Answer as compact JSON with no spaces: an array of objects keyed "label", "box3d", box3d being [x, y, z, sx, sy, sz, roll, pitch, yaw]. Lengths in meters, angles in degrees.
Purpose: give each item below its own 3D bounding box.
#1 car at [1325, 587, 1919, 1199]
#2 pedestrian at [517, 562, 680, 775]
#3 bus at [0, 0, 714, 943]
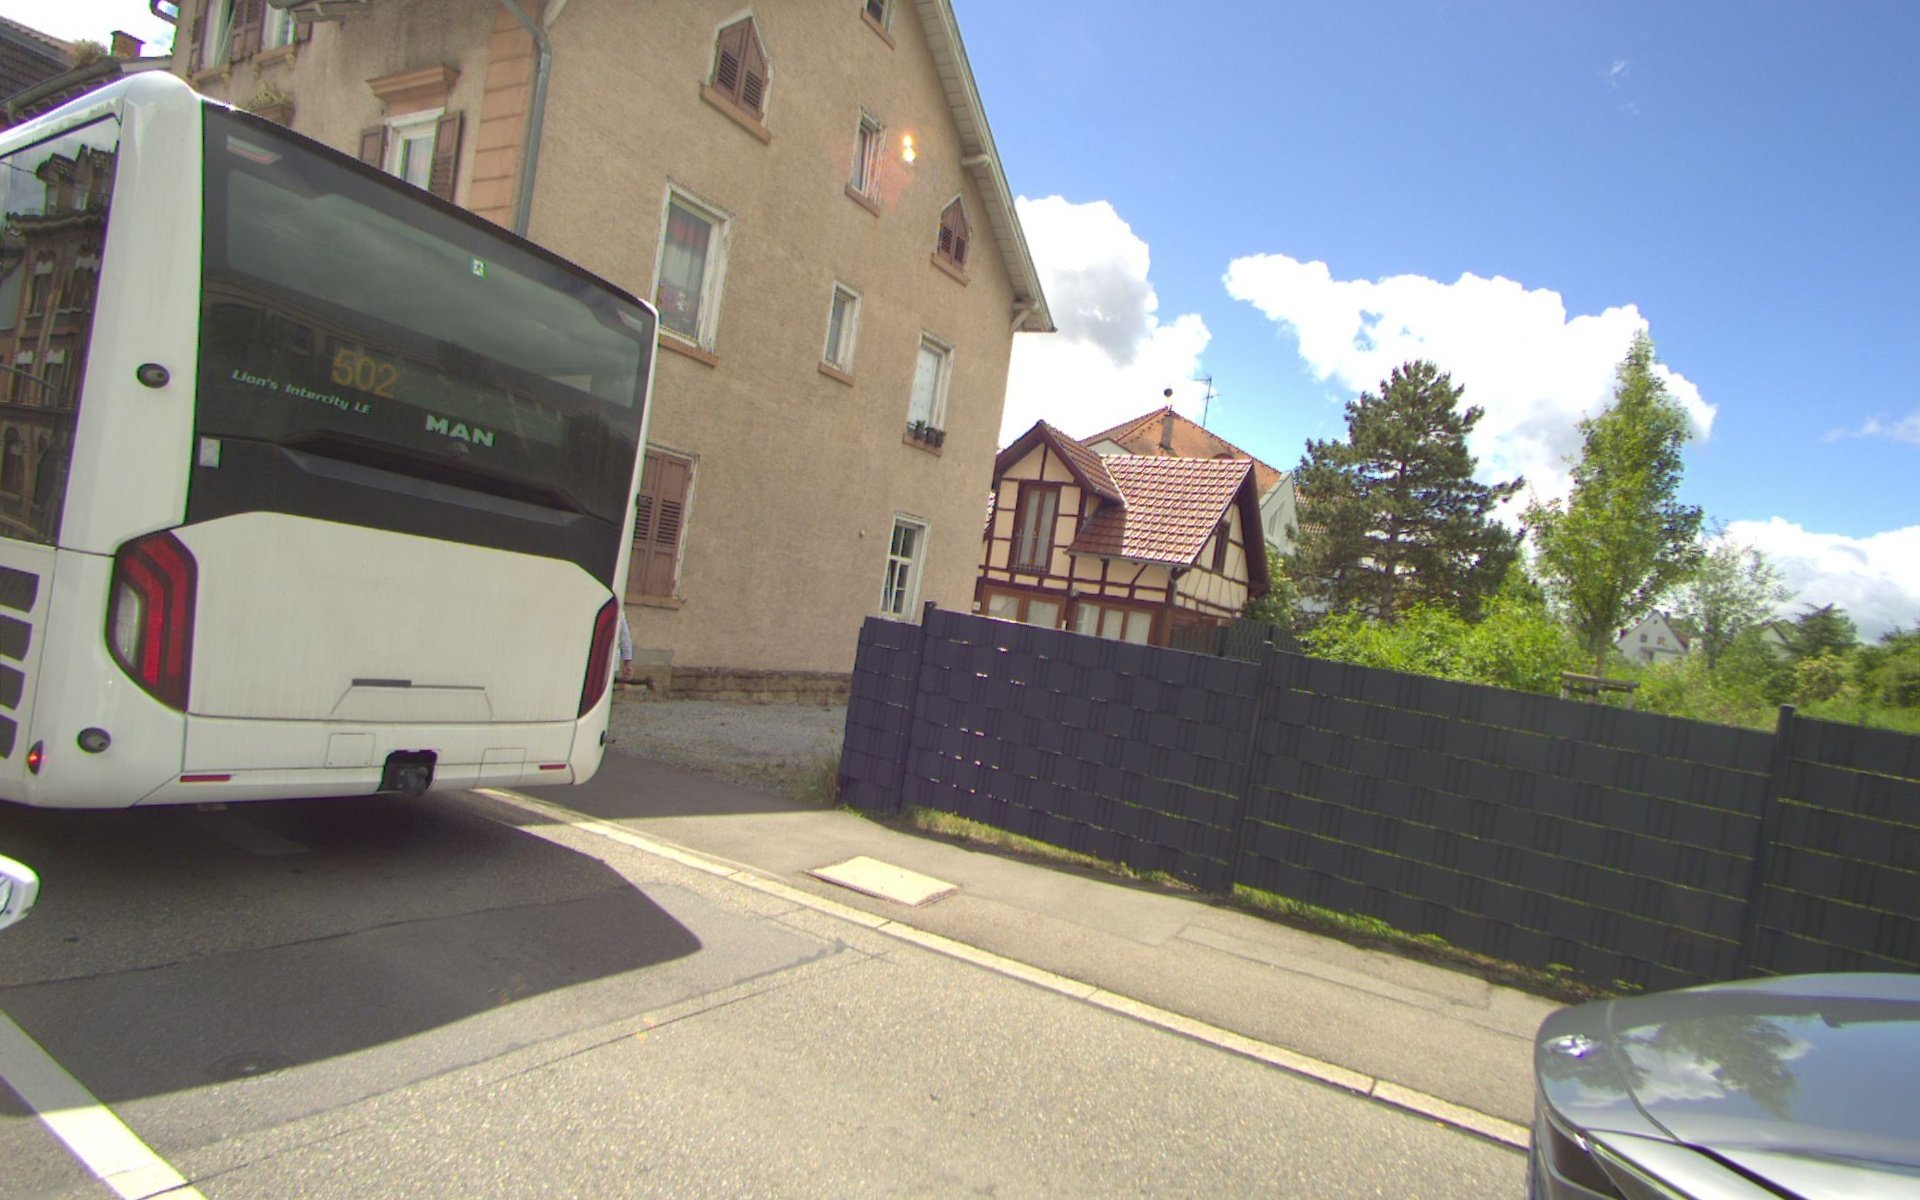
[{"label":"car","box3d":[2.919,1.143,0.961,4.605,1.631,1.924,7,-2,32]},{"label":"pedestrian","box3d":[-2.926,0.543,8.182,0.700,1.581,0.860,7,1,31]},{"label":"bus","box3d":[-7.415,-0.925,7.741,12.255,3.194,2.676,7,0,32]}]
